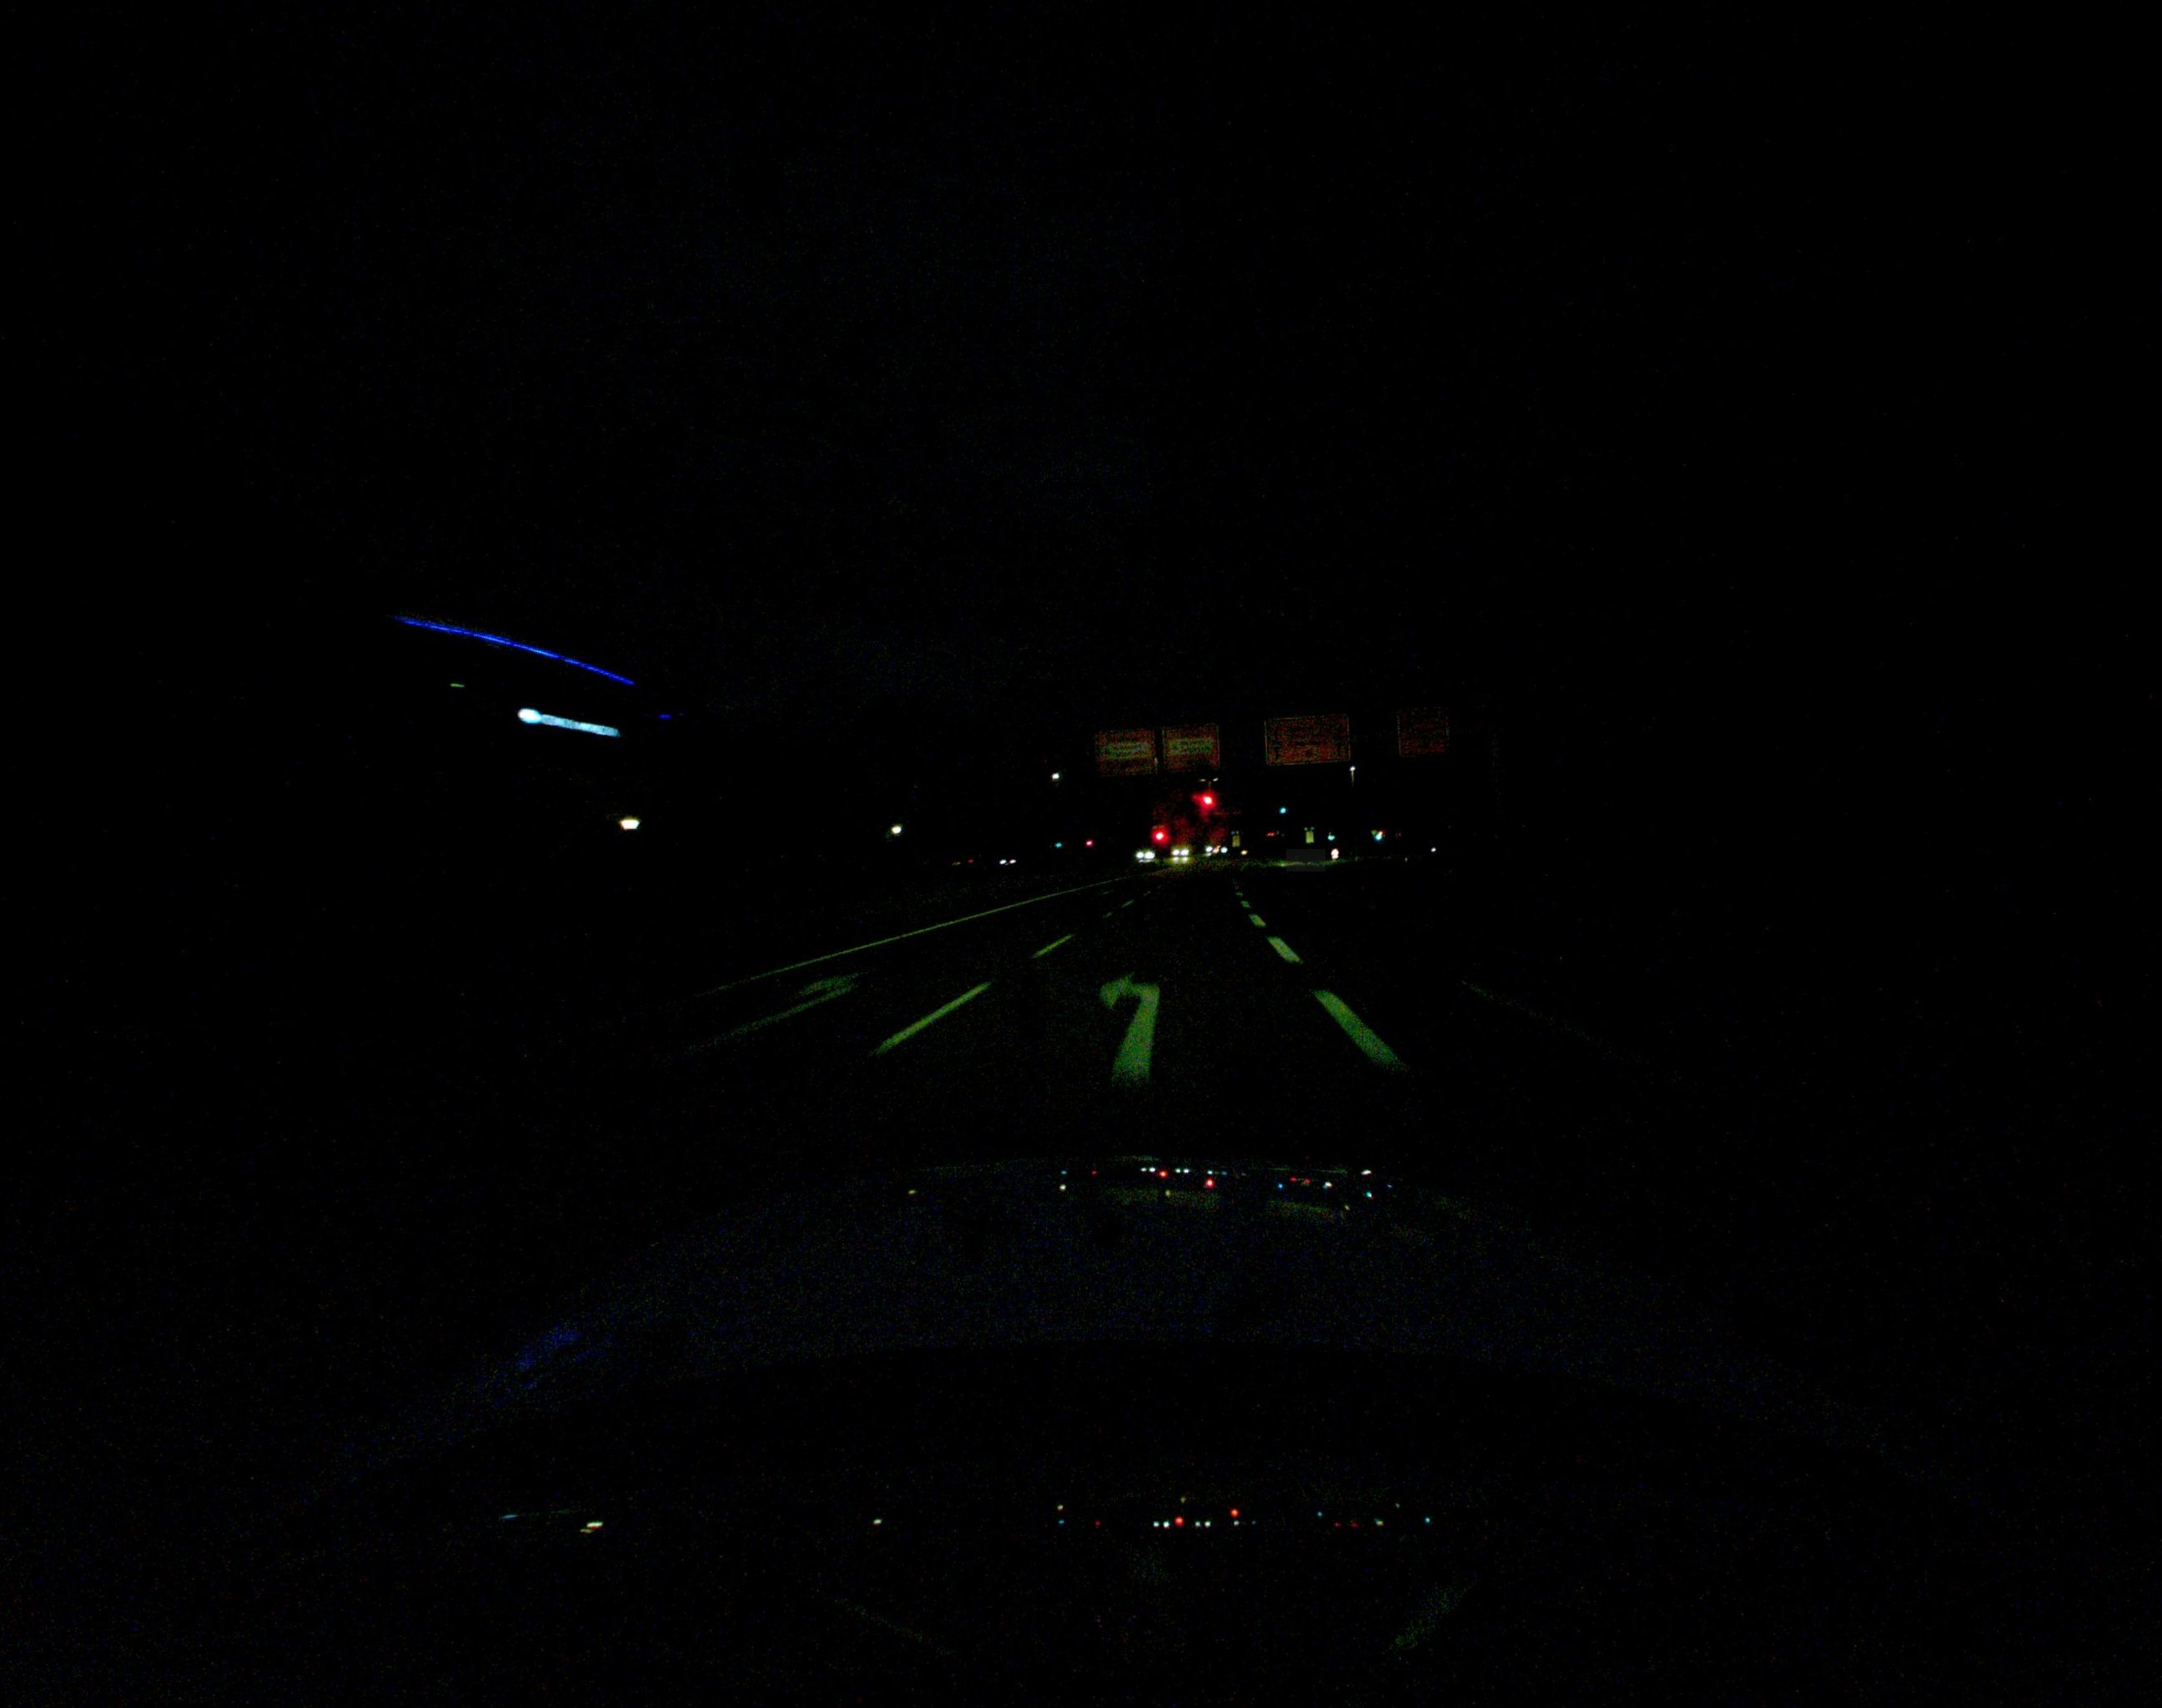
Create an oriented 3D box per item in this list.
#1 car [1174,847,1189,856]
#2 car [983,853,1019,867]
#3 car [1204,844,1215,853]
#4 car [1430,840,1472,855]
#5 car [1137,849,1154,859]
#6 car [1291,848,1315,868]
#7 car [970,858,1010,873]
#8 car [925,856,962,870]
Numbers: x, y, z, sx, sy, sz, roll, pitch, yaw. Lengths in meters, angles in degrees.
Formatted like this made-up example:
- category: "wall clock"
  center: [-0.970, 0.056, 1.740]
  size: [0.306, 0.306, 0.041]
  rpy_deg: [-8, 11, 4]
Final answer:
- category: "car"
  center: [17.036, -0.413, 138.042]
  size: [1.980, 1.482, 4.698]
  rpy_deg: [-2, 0, 12]
- category: "car"
  center: [-9.723, 0.678, 99.470]
  size: [4.015, 1.537, 1.734]
  rpy_deg: [-2, 0, 10]
- category: "car"
  center: [25.170, -1.139, 159.368]
  size: [1.980, 1.698, 4.014]
  rpy_deg: [-2, 1, 12]
- category: "car"
  center: [43.089, -0.758, 94.875]
  size: [4.048, 1.569, 2.008]
  rpy_deg: [-2, 1, 10]
- category: "car"
  center: [9.876, -0.002, 124.043]
  size: [1.980, 1.425, 4.548]
  rpy_deg: [-2, 0, 12]
- category: "car"
  center: [19.178, 0.323, 70.311]
  size: [1.992, 1.611, 3.861]
  rpy_deg: [-1, 0, 15]
- category: "car"
  center: [-10.685, 1.309, 95.858]
  size: [4.284, 1.537, 1.735]
  rpy_deg: [-2, 0, 11]
- category: "car"
  center: [-16.511, 1.092, 97.567]
  size: [3.965, 1.473, 1.733]
  rpy_deg: [-2, 0, 7]
